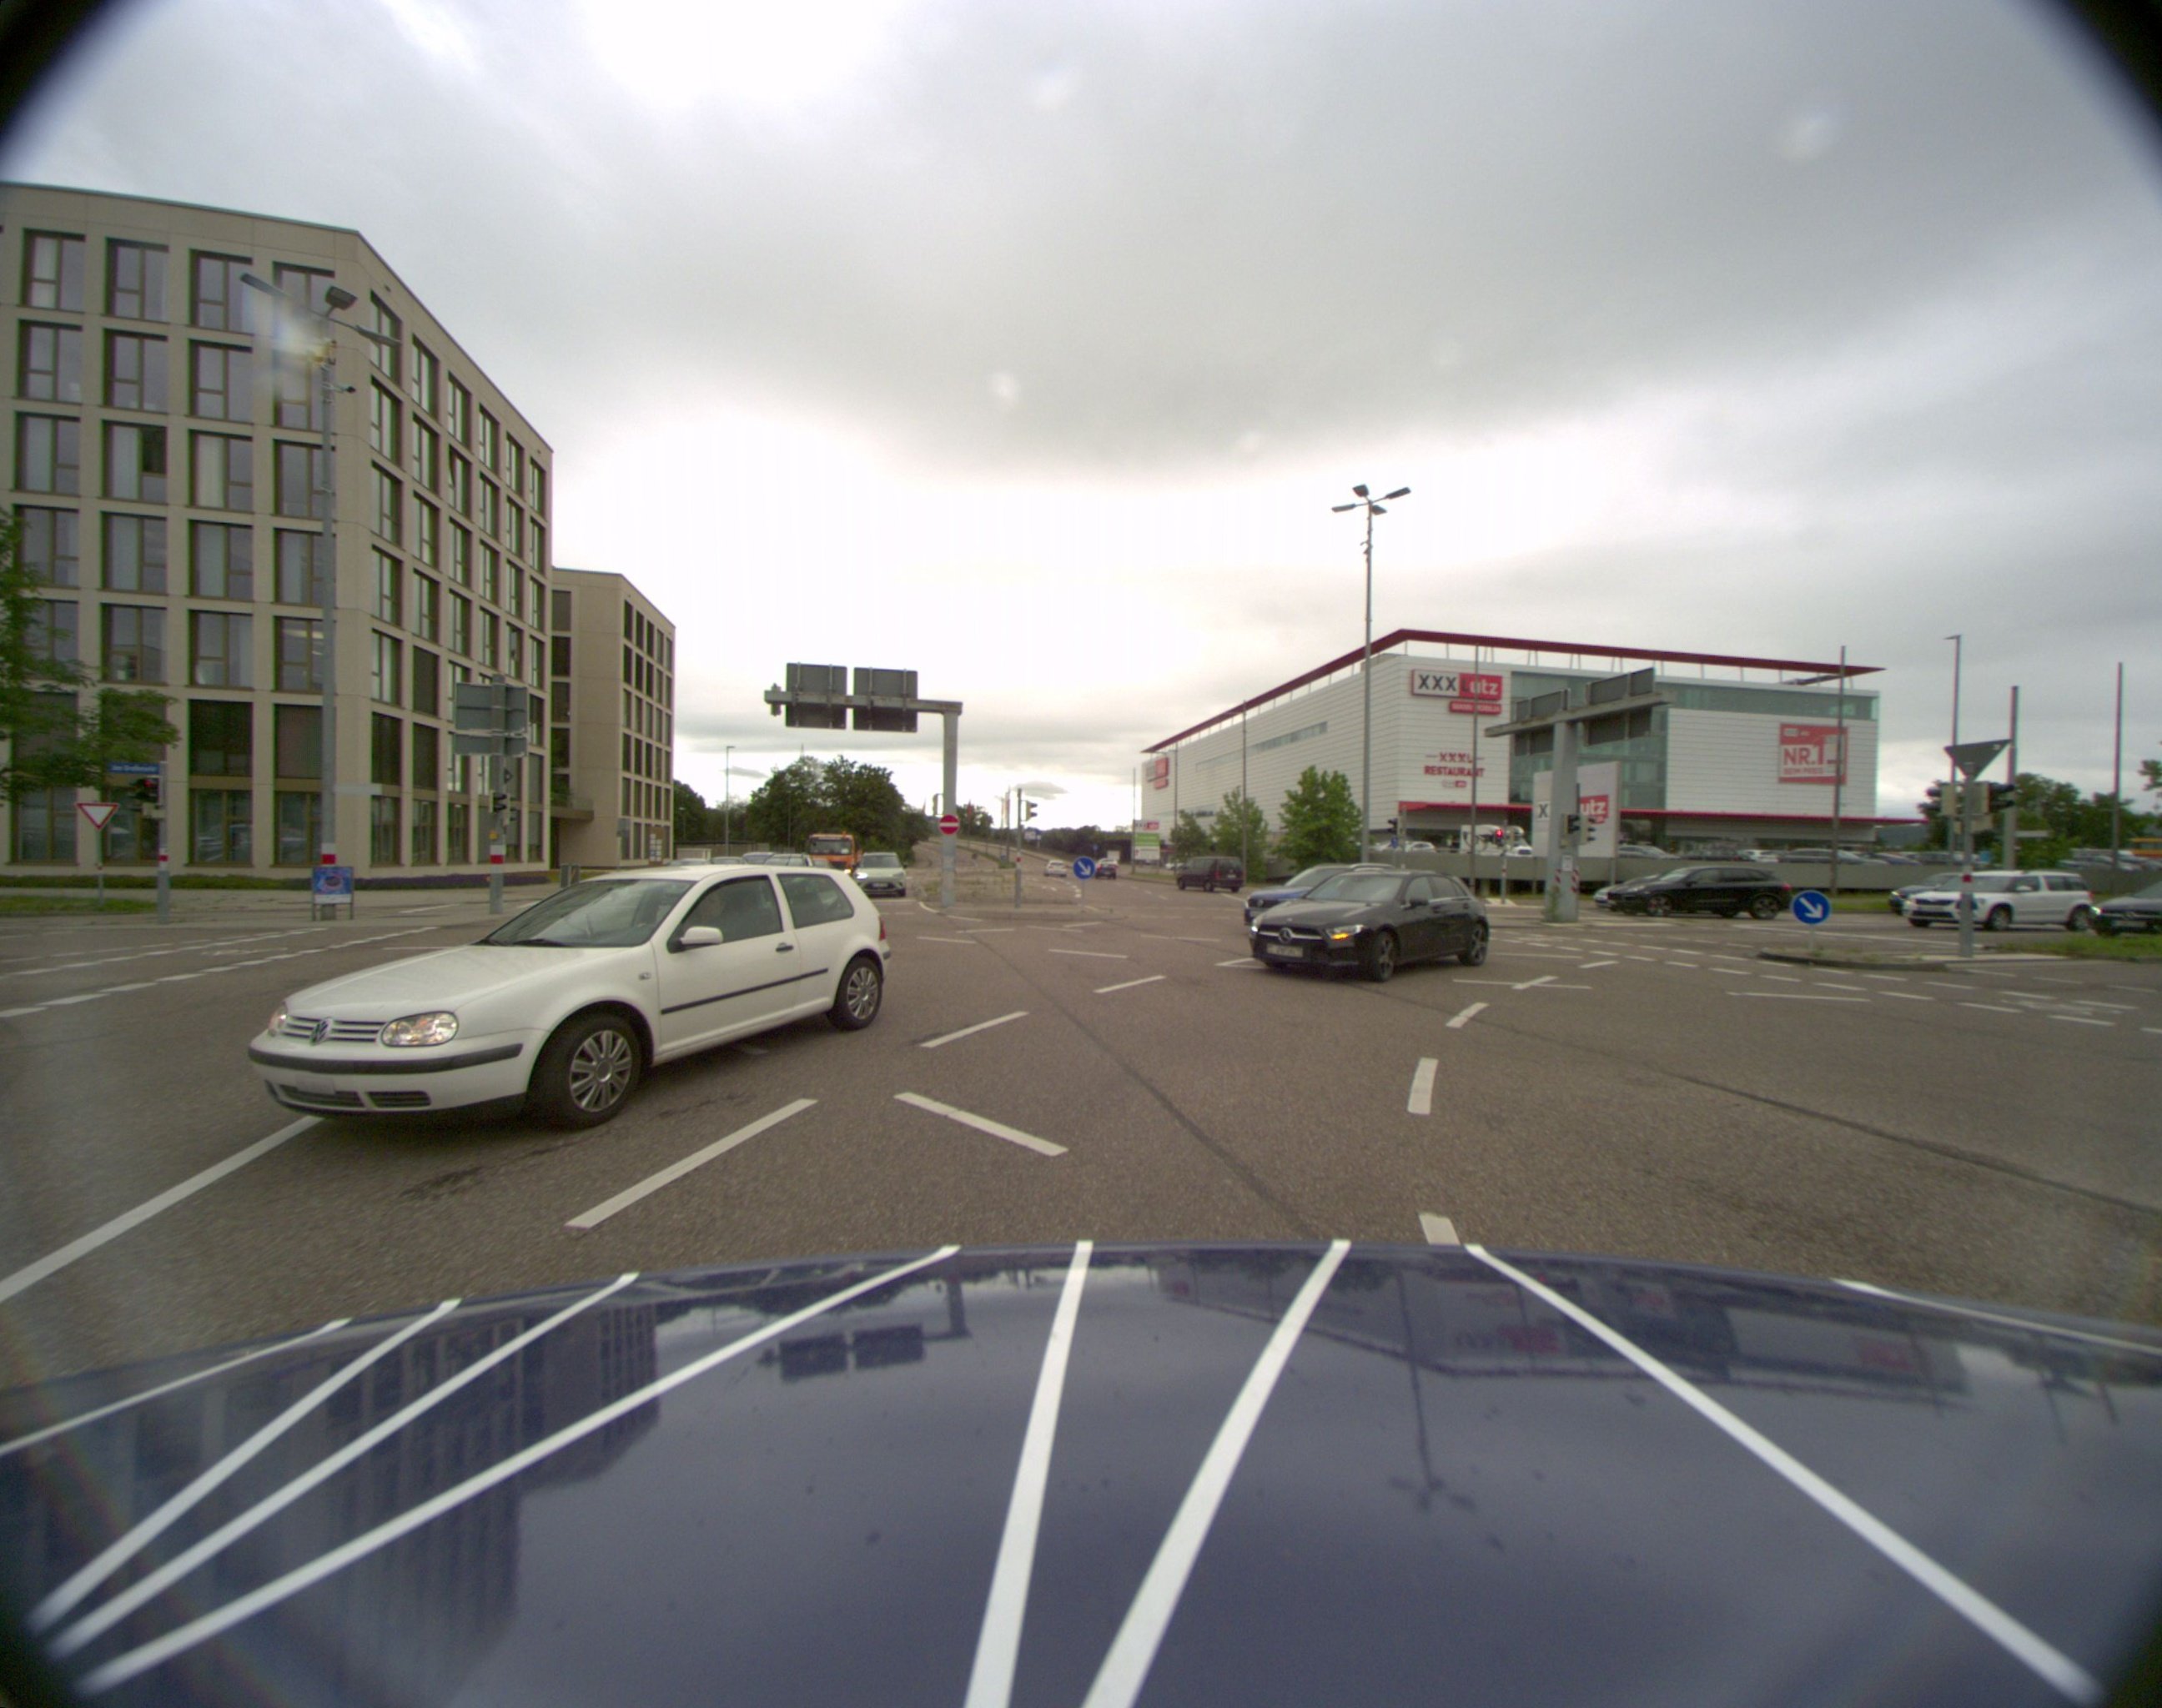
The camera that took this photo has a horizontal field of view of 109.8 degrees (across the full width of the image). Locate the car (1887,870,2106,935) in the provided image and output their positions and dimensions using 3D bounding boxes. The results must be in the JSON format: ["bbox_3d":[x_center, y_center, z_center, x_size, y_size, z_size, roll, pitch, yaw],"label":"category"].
[{"bbox_3d":[24.921,1.276,20.743,4.374,1.615,1.799,0,-1,-9],"label":"car"}]

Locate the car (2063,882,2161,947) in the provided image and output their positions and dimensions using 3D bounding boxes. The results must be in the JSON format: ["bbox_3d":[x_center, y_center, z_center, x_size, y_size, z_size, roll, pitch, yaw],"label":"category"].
[{"bbox_3d":[25.903,1.364,17.767,4.259,1.370,1.767,0,-1,-9],"label":"car"}]

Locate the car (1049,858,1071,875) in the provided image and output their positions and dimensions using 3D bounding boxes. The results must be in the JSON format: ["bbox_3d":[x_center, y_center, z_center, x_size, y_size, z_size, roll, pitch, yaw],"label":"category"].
[{"bbox_3d":[-1.843,1.132,69.146,1.833,1.401,4.198,4,-2,0],"label":"car"}]

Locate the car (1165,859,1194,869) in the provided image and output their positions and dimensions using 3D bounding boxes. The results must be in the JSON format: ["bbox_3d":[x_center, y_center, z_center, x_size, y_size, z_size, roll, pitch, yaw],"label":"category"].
[{"bbox_3d":[15.425,1.564,119.336,4.199,1.600,1.721,0,-1,-12],"label":"car"}]

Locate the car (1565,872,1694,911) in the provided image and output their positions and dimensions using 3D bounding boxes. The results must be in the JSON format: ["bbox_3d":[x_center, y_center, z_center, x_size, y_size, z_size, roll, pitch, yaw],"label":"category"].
[{"bbox_3d":[20.556,1.363,28.543,3.927,1.363,1.693,0,-1,-11],"label":"car"}]

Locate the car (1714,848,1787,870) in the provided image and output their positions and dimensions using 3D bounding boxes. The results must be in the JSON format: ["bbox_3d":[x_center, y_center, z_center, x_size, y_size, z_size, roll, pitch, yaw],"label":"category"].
[{"bbox_3d":[54.131,0.404,61.528,2.001,1.728,3.996,0,-1,-12],"label":"car"}]

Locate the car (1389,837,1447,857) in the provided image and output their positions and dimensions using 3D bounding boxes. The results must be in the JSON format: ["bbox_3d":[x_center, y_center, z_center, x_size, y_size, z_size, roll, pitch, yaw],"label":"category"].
[{"bbox_3d":[28.893,-0.619,65.110,4.260,1.665,1.776,0,-1,-9],"label":"car"}]

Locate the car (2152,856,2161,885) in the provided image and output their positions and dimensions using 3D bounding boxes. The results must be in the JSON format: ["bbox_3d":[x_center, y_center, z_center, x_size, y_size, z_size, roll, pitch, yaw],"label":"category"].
[{"bbox_3d":[76.380,1.102,51.272,2.000,2.001,4.323,0,-1,-11],"label":"car"}]

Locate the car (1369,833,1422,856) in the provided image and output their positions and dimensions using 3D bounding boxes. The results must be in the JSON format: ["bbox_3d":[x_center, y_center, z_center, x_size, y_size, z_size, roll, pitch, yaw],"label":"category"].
[{"bbox_3d":[28.467,-0.819,68.813,4.000,2.001,1.999,0,-1,-8],"label":"car"}]

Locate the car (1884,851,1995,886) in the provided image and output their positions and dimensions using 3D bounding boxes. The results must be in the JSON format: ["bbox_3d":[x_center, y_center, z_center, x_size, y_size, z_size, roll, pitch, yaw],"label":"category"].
[{"bbox_3d":[51.779,0.861,45.932,2.000,2.001,3.997,0,-1,-11],"label":"car"}]

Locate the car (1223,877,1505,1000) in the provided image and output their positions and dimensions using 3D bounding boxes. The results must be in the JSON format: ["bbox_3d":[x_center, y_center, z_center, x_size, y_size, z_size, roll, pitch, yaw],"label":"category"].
[{"bbox_3d":[4.184,1.064,10.955,4.205,1.426,1.855,2,-1,-37],"label":"car"}]

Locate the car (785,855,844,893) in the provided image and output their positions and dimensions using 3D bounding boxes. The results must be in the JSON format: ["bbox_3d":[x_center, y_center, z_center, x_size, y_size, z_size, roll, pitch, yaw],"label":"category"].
[{"bbox_3d":[-11.918,0.881,34.212,2.001,1.592,3.996,0,-1,-12],"label":"car"}]

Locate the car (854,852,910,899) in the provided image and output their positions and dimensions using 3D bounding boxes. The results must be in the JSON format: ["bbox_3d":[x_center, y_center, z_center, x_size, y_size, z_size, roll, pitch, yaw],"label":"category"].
[{"bbox_3d":[-7.459,0.778,28.609,1.906,1.633,4.064,0,-1,-14],"label":"car"}]

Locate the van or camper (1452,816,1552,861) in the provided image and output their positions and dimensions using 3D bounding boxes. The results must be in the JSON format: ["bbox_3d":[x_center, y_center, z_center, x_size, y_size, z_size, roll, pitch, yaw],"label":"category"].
[{"bbox_3d":[31.589,-1.057,57.468,2.715,3.116,7.231,0,-1,-9],"label":"van or camper"}]

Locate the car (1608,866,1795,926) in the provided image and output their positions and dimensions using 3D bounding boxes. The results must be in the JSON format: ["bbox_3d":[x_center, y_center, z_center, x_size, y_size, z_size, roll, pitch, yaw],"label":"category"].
[{"bbox_3d":[19.348,1.236,23.832,1.804,1.615,4.361,2,-1,-45],"label":"car"}]

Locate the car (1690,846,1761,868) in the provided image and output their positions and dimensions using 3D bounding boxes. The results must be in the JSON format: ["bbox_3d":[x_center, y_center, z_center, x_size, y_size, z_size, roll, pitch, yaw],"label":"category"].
[{"bbox_3d":[51.539,0.282,60.858,2.001,1.728,3.996,0,-1,-12],"label":"car"}]

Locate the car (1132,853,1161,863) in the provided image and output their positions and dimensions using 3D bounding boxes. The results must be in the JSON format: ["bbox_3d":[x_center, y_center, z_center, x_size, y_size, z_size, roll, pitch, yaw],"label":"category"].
[{"bbox_3d":[9.940,0.635,115.830,4.196,1.600,1.722,0,-1,-5],"label":"car"}]

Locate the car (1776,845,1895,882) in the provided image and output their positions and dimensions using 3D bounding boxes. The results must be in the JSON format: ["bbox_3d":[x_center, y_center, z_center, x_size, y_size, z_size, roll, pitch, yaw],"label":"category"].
[{"bbox_3d":[43.669,0.564,44.119,2.001,2.001,4.528,0,-1,-12],"label":"car"}]

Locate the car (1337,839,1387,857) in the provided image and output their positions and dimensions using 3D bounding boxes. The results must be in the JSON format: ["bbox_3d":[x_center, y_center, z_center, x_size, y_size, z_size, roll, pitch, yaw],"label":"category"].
[{"bbox_3d":[27.561,-0.554,74.449,4.260,1.665,1.776,0,-1,-9],"label":"car"}]

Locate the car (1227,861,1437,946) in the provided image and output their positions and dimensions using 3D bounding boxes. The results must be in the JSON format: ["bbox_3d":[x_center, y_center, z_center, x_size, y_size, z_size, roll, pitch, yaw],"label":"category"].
[{"bbox_3d":[5.440,0.981,16.385,4.339,1.612,1.844,0,-1,-29],"label":"car"}]

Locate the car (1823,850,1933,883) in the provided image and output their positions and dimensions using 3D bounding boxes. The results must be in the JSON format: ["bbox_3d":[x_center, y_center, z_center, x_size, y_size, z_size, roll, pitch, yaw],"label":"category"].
[{"bbox_3d":[46.632,0.732,44.559,2.001,1.837,3.996,0,-1,-12],"label":"car"}]

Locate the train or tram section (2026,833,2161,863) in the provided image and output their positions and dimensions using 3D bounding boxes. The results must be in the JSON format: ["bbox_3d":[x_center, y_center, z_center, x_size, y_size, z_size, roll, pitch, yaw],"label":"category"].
[{"bbox_3d":[174.718,-0.973,126.117,3.634,4.810,23.260,0,0,-12],"label":"train or tram section"}]

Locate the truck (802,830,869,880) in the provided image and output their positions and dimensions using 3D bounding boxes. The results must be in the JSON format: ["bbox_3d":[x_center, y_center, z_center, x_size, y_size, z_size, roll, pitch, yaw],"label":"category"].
[{"bbox_3d":[-13.685,0.113,42.912,2.822,2.622,6.669,0,-1,-11],"label":"truck"}]

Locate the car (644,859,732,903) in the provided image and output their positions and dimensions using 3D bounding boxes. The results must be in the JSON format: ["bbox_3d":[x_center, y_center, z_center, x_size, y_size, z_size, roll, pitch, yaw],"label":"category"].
[{"bbox_3d":[-13.722,0.918,26.773,1.752,1.423,4.094,0,-1,-13],"label":"car"}]

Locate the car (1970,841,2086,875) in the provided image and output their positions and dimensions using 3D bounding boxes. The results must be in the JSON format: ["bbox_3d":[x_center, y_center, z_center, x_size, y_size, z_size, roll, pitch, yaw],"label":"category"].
[{"bbox_3d":[58.572,0.282,47.102,2.000,2.001,3.997,0,-1,-11],"label":"car"}]

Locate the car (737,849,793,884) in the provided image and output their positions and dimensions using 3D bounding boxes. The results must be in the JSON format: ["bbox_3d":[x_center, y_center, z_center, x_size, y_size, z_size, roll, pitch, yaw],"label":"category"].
[{"bbox_3d":[-16.661,0.681,40.263,2.001,1.758,4.146,0,-1,-13],"label":"car"}]

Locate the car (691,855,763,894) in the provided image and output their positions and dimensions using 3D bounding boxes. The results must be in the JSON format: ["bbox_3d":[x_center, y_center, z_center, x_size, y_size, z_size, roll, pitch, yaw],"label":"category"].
[{"bbox_3d":[-14.694,0.838,31.766,1.873,1.481,4.146,0,-1,-13],"label":"car"}]

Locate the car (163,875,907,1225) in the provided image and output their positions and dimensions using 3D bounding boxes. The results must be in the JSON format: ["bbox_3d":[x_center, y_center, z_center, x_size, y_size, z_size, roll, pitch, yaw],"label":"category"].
[{"bbox_3d":[-3.154,0.908,5.471,1.834,1.469,4.011,-1,-1,19],"label":"car"}]

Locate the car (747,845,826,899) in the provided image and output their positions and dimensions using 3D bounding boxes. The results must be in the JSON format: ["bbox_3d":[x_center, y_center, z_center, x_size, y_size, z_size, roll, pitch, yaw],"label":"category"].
[{"bbox_3d":[-10.488,0.638,27.351,2.001,1.758,4.418,0,-1,-13],"label":"car"}]

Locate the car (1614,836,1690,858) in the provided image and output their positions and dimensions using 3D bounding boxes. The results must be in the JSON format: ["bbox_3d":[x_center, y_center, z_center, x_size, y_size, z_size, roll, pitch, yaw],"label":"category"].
[{"bbox_3d":[40.302,-0.444,53.736,1.870,1.428,3.990,0,-1,-12],"label":"car"}]

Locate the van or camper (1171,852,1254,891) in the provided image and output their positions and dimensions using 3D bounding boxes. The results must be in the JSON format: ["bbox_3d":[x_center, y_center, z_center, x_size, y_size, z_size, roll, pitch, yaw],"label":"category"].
[{"bbox_3d":[7.275,0.913,42.657,2.167,2.001,4.933,3,-1,-23],"label":"van or camper"}]
